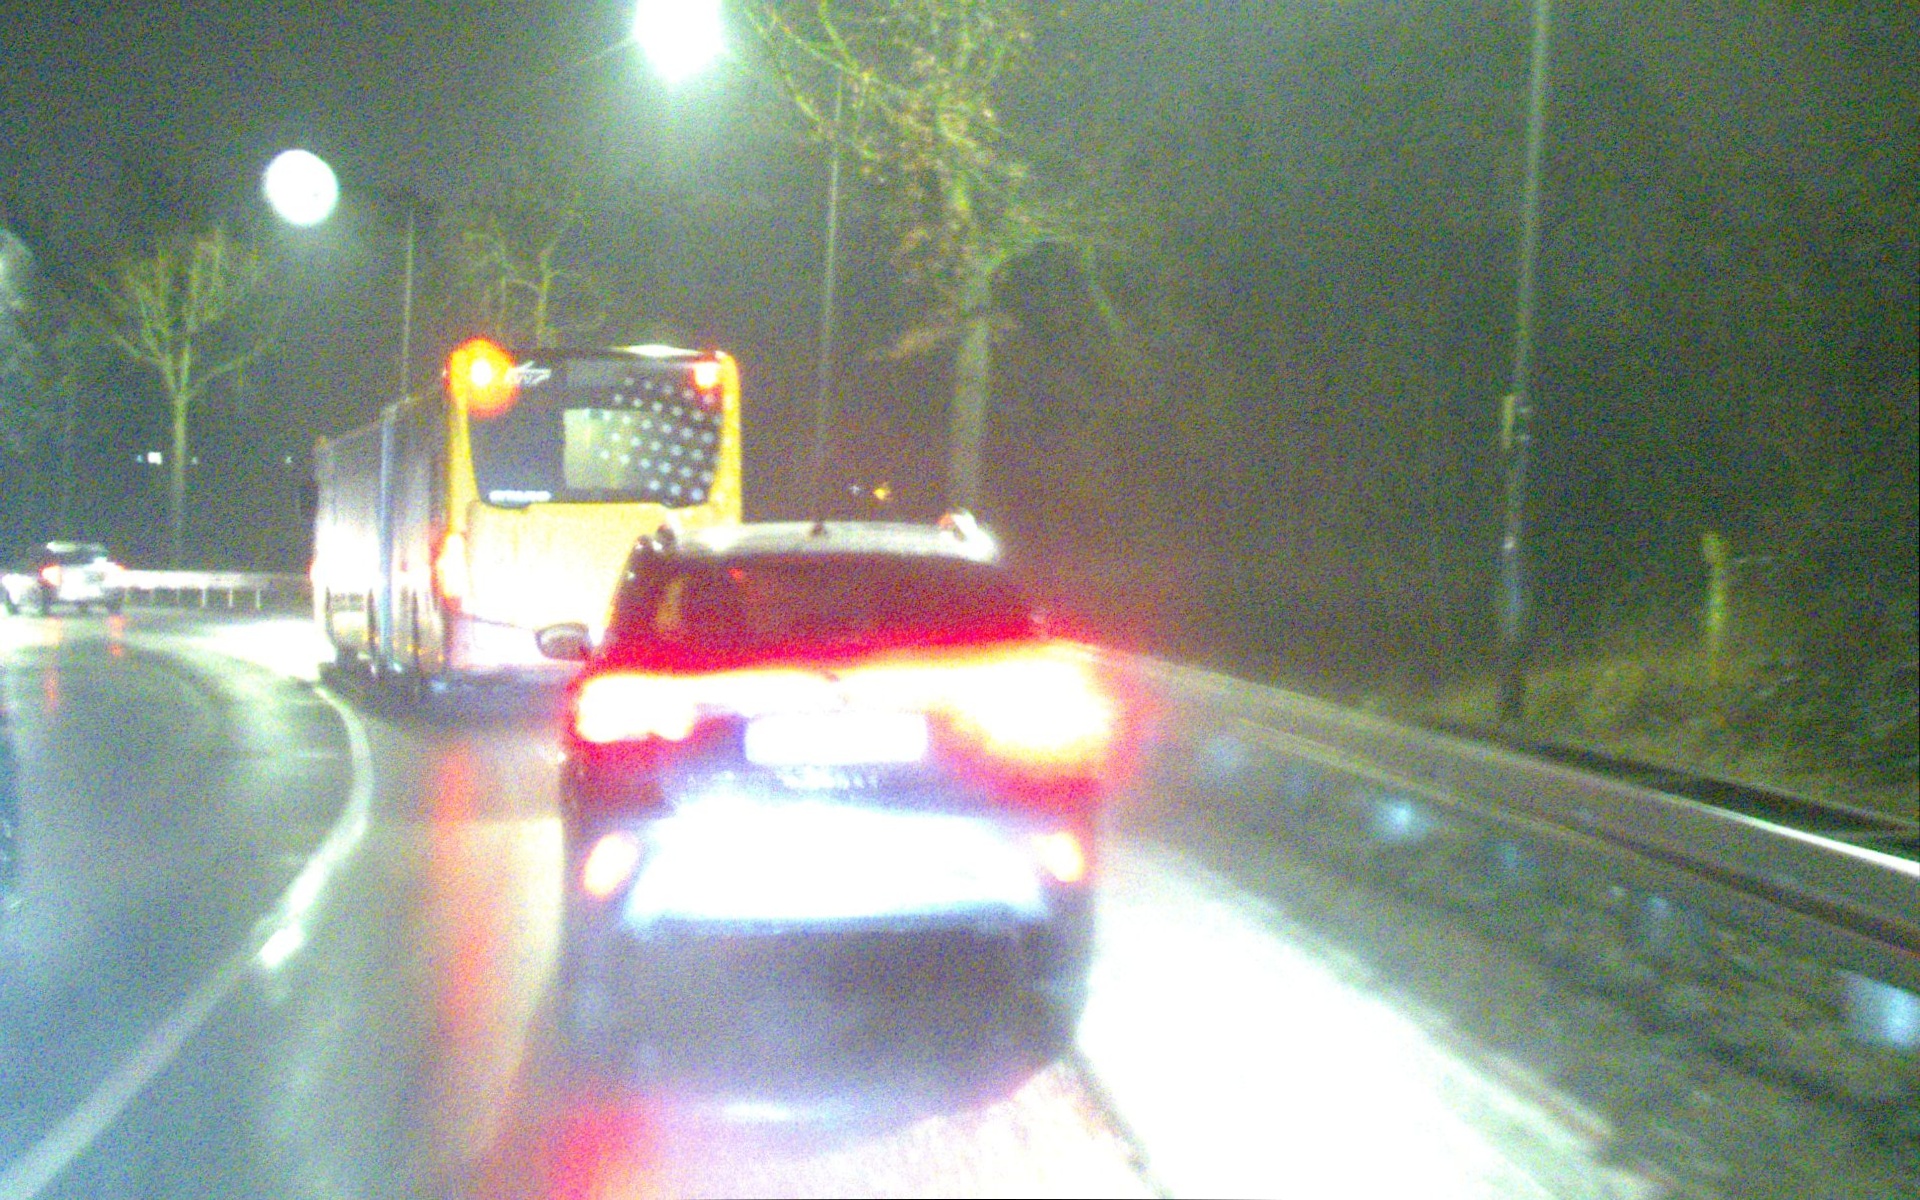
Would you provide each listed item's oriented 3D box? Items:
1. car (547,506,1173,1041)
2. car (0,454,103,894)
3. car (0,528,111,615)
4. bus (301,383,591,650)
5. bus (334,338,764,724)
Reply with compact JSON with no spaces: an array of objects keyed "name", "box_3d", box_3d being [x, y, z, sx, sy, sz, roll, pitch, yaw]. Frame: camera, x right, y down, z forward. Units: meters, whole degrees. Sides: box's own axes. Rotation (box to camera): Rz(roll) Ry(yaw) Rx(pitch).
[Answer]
[{"name":"car","box_3d":[-0.528,0.476,12.233,1.855,1.581,4.001,0,1,-7]},{"name":"car","box_3d":[-4.324,0.264,11.844,1.897,1.561,4.735,0,2,-4]},{"name":"car","box_3d":[-18.763,-0.611,70.743,1.636,1.650,3.711,-3,3,-27]},{"name":"bus","box_3d":[-6.801,-1.054,44.509,3.048,3.121,8.081,-1,1,-13]},{"name":"bus","box_3d":[-4.475,-0.725,34.375,3.082,3.122,12.701,-1,1,-12]}]
